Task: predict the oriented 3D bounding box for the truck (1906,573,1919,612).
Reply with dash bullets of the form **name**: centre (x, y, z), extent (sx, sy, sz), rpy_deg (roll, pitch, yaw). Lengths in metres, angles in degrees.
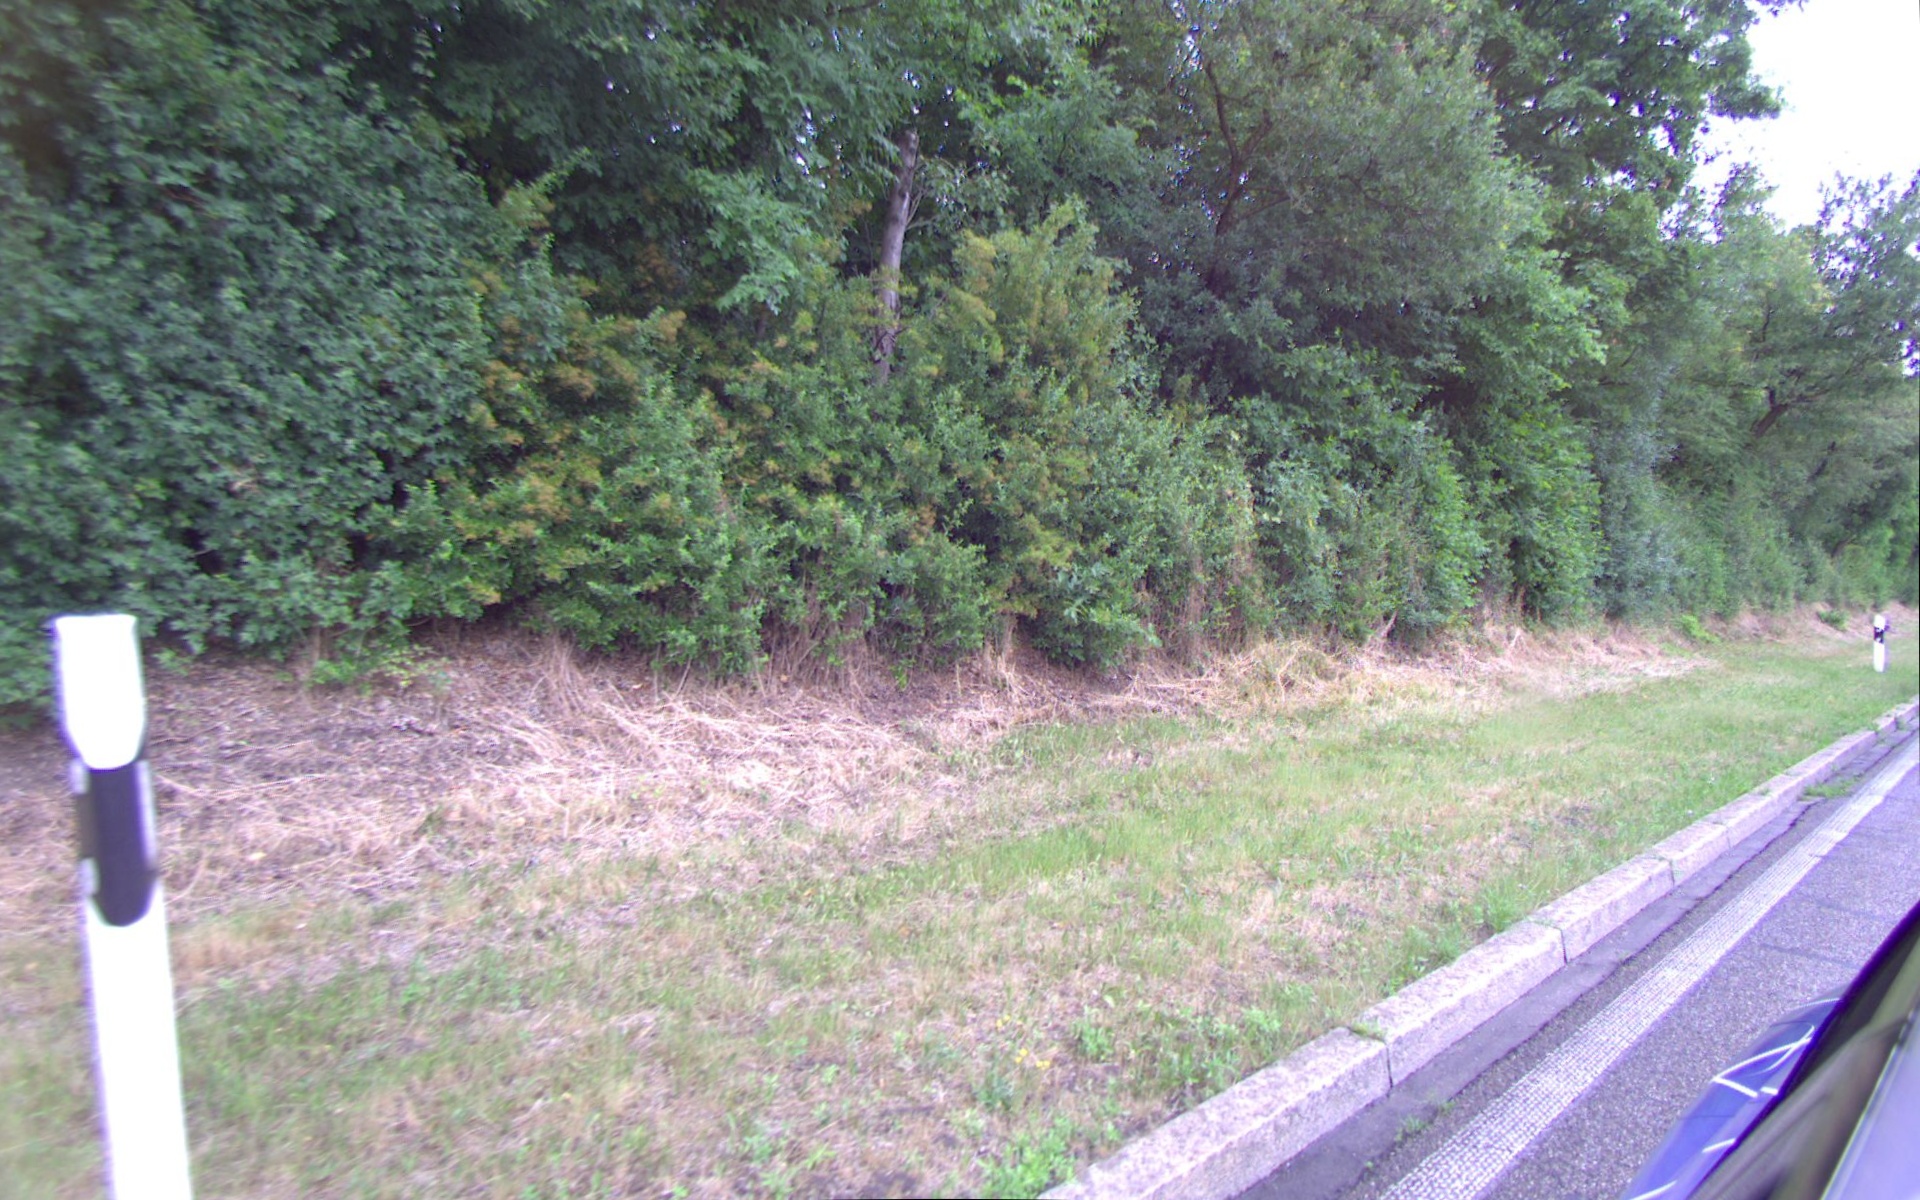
- **truck**: centre (131.145, -1.032, 137.453), extent (2.835, 5.163, 13.920), rpy_deg (2, 2, 39)
